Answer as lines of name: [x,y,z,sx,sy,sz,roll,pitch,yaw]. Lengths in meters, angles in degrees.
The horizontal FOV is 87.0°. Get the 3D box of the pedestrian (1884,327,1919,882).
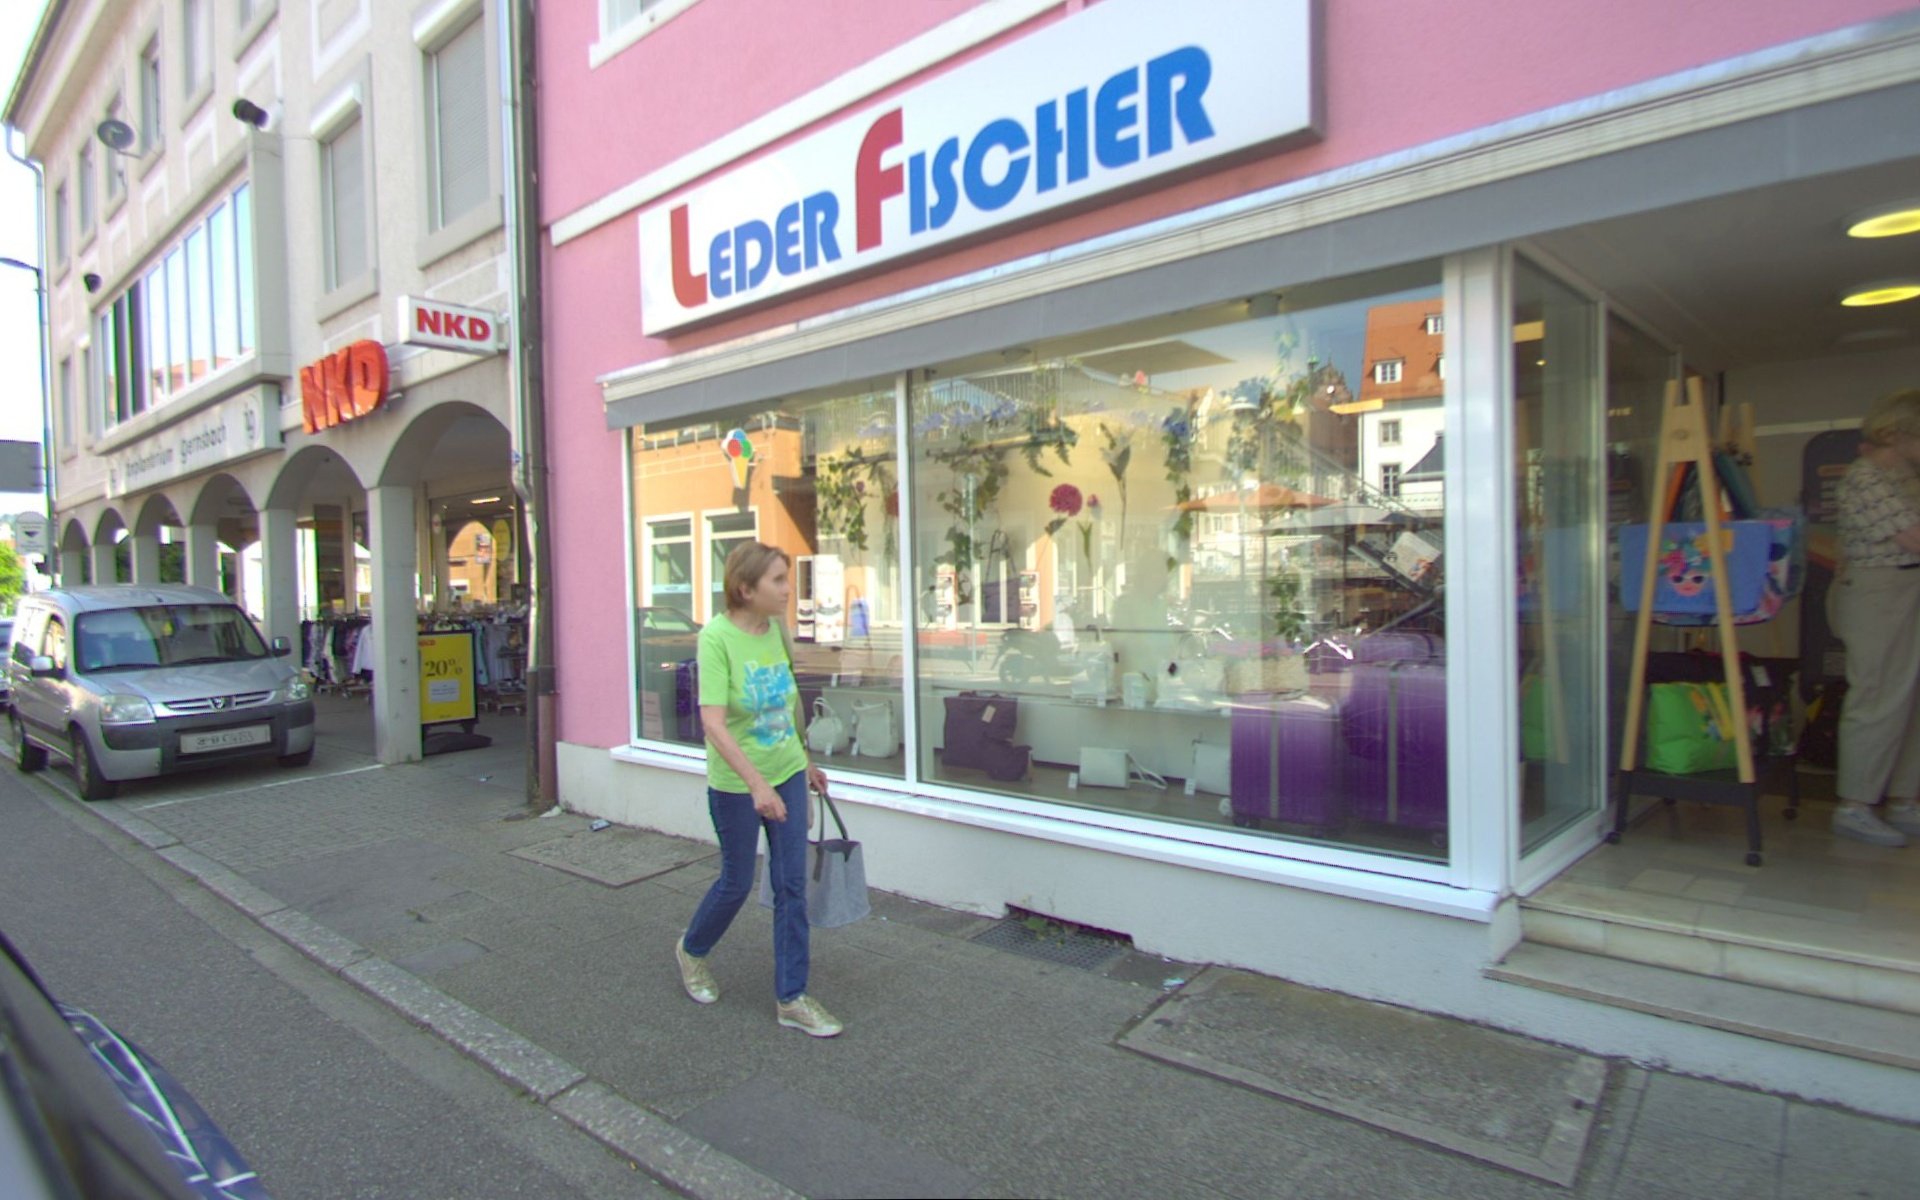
pedestrian: [3.364,0.011,2.936,0.664,1.735,0.716,-1,0,-8]

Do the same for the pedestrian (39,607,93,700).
pedestrian: [-15.663,0.924,17.739,0.534,1.563,0.614,-2,1,42]

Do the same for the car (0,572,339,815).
car: [-7.589,0.718,9.466,4.141,1.752,1.690,-2,2,39]

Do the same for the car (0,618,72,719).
car: [-16.195,1.096,16.663,4.453,1.481,1.784,-2,1,41]

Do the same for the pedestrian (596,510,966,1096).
pedestrian: [-0.598,0.554,3.396,0.859,1.644,0.777,-1,3,43]

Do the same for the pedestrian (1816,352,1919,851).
pedestrian: [3.606,0.000,3.700,0.567,1.735,0.571,-1,0,26]
